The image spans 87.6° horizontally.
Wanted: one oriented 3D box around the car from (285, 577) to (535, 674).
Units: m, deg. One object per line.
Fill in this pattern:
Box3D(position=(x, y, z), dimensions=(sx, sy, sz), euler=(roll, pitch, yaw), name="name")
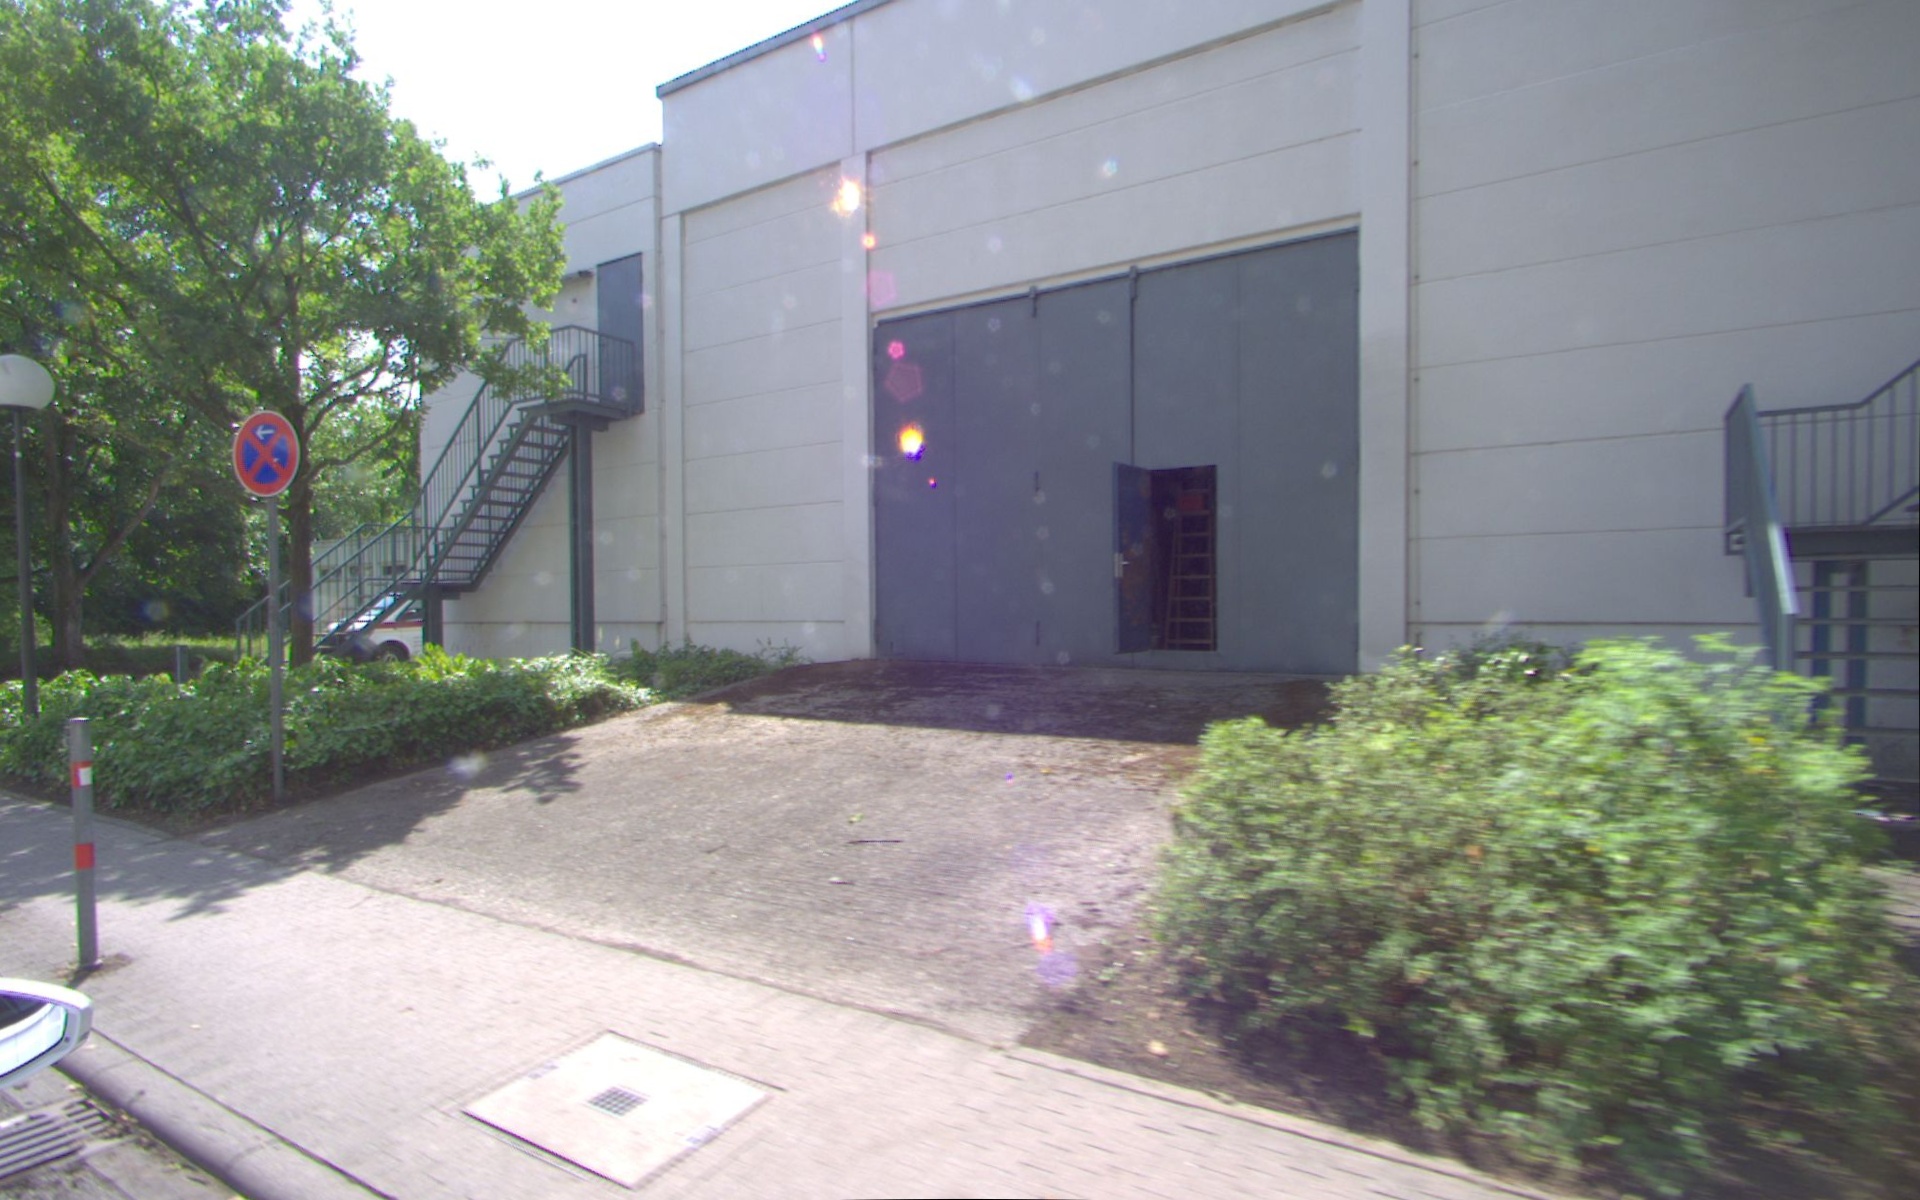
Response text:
Box3D(position=(-12.807, 0.565, 23.653), dimensions=(2.033, 2.040, 4.814), euler=(-1, 0, 33), name="car")
